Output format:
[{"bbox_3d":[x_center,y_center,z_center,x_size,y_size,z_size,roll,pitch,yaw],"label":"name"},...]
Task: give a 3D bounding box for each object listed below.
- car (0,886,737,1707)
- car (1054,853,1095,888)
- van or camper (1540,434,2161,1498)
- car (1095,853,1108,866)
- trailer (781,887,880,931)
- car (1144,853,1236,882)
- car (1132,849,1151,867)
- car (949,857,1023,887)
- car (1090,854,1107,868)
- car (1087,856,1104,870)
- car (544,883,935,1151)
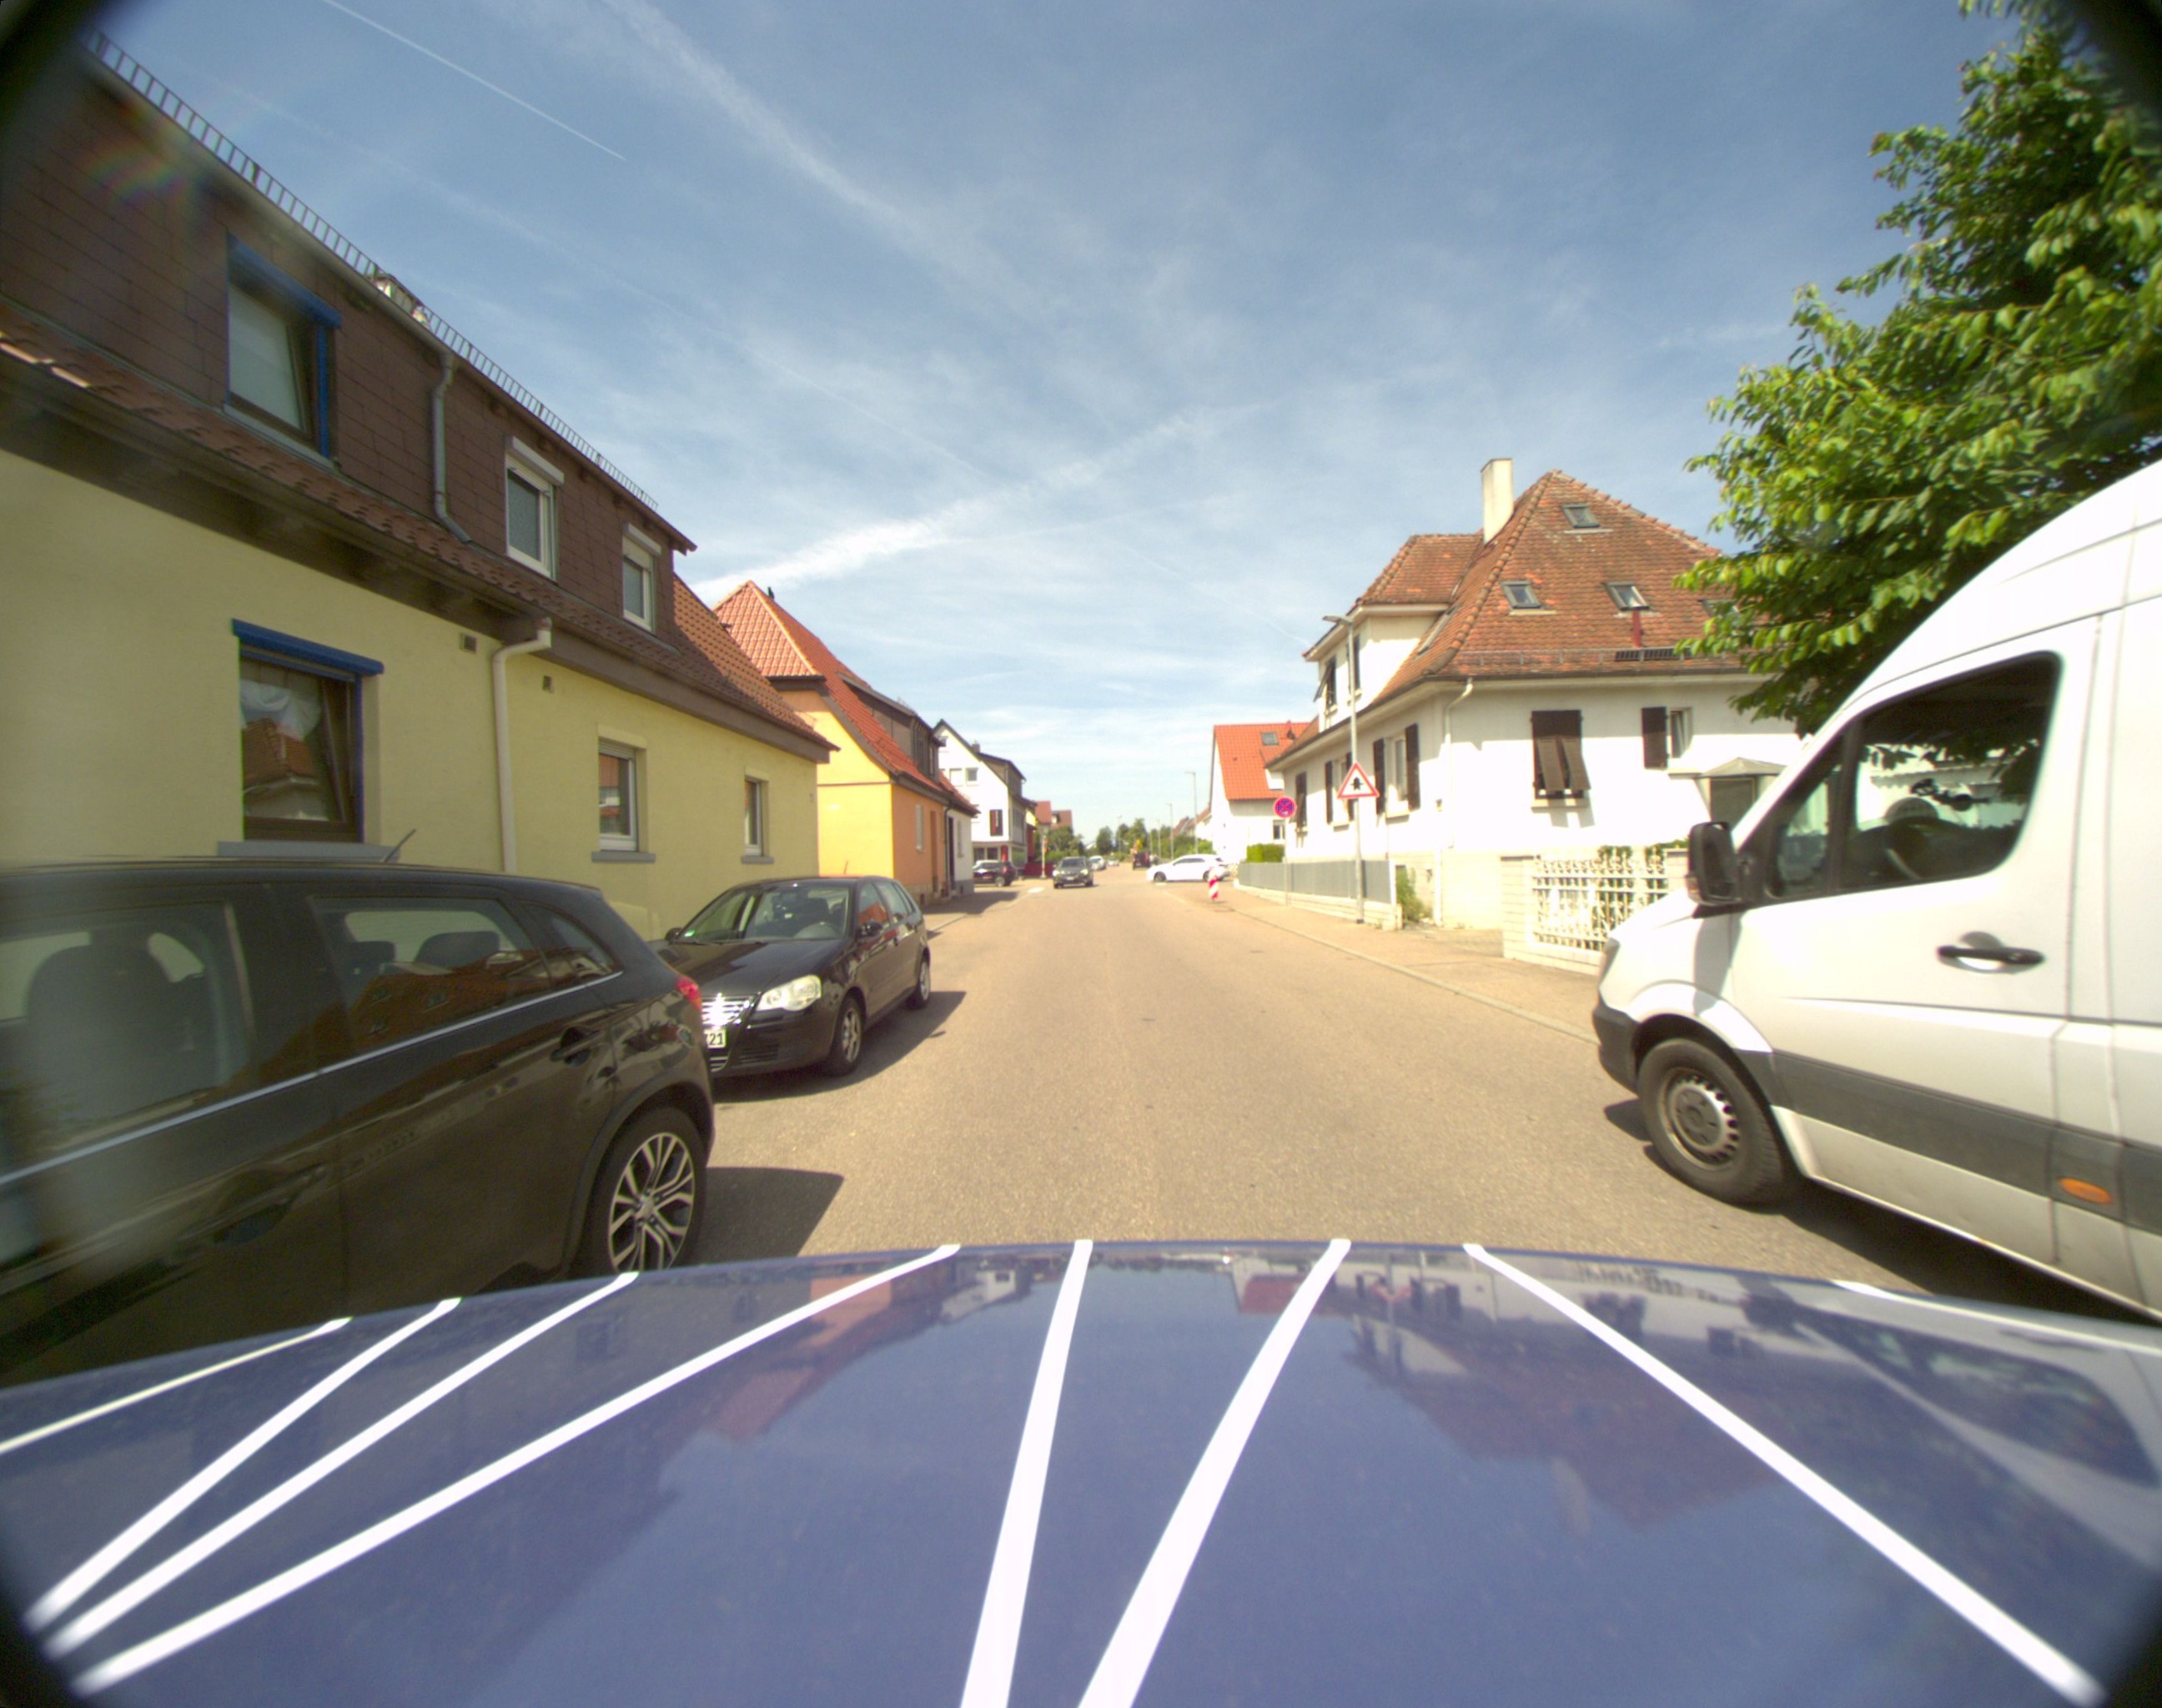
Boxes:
[{"bbox_3d":[-2.397,0.968,1.087,1.733,1.590,4.253,-3,0,1],"label":"car"},{"bbox_3d":[-0.281,0.834,39.568,1.838,1.637,4.324,-3,0,3],"label":"car"},{"bbox_3d":[3.670,0.244,0.799,2.190,2.556,6.807,-3,0,0],"label":"van or camper"},{"bbox_3d":[2.886,0.759,107.010,1.669,1.739,4.057,-2,0,4],"label":"car"},{"bbox_3d":[-6.342,1.363,19.217,2.145,0.894,1.240,-2,0,-29],"label":"trailer"},{"bbox_3d":[5.870,0.710,40.878,4.484,1.390,1.932,-2,0,24],"label":"car"},{"bbox_3d":[6.859,0.471,85.997,1.972,1.940,4.697,-2,0,4],"label":"car"},{"bbox_3d":[-6.000,1.135,48.238,4.301,1.643,1.849,-2,0,9],"label":"car"},{"bbox_3d":[2.204,0.870,95.081,1.740,1.652,4.338,-3,0,4],"label":"car"},{"bbox_3d":[1.707,1.023,88.699,1.755,1.412,4.422,-2,0,4],"label":"car"},{"bbox_3d":[-2.435,1.063,6.505,1.615,1.422,3.754,-3,0,0],"label":"car"}]
